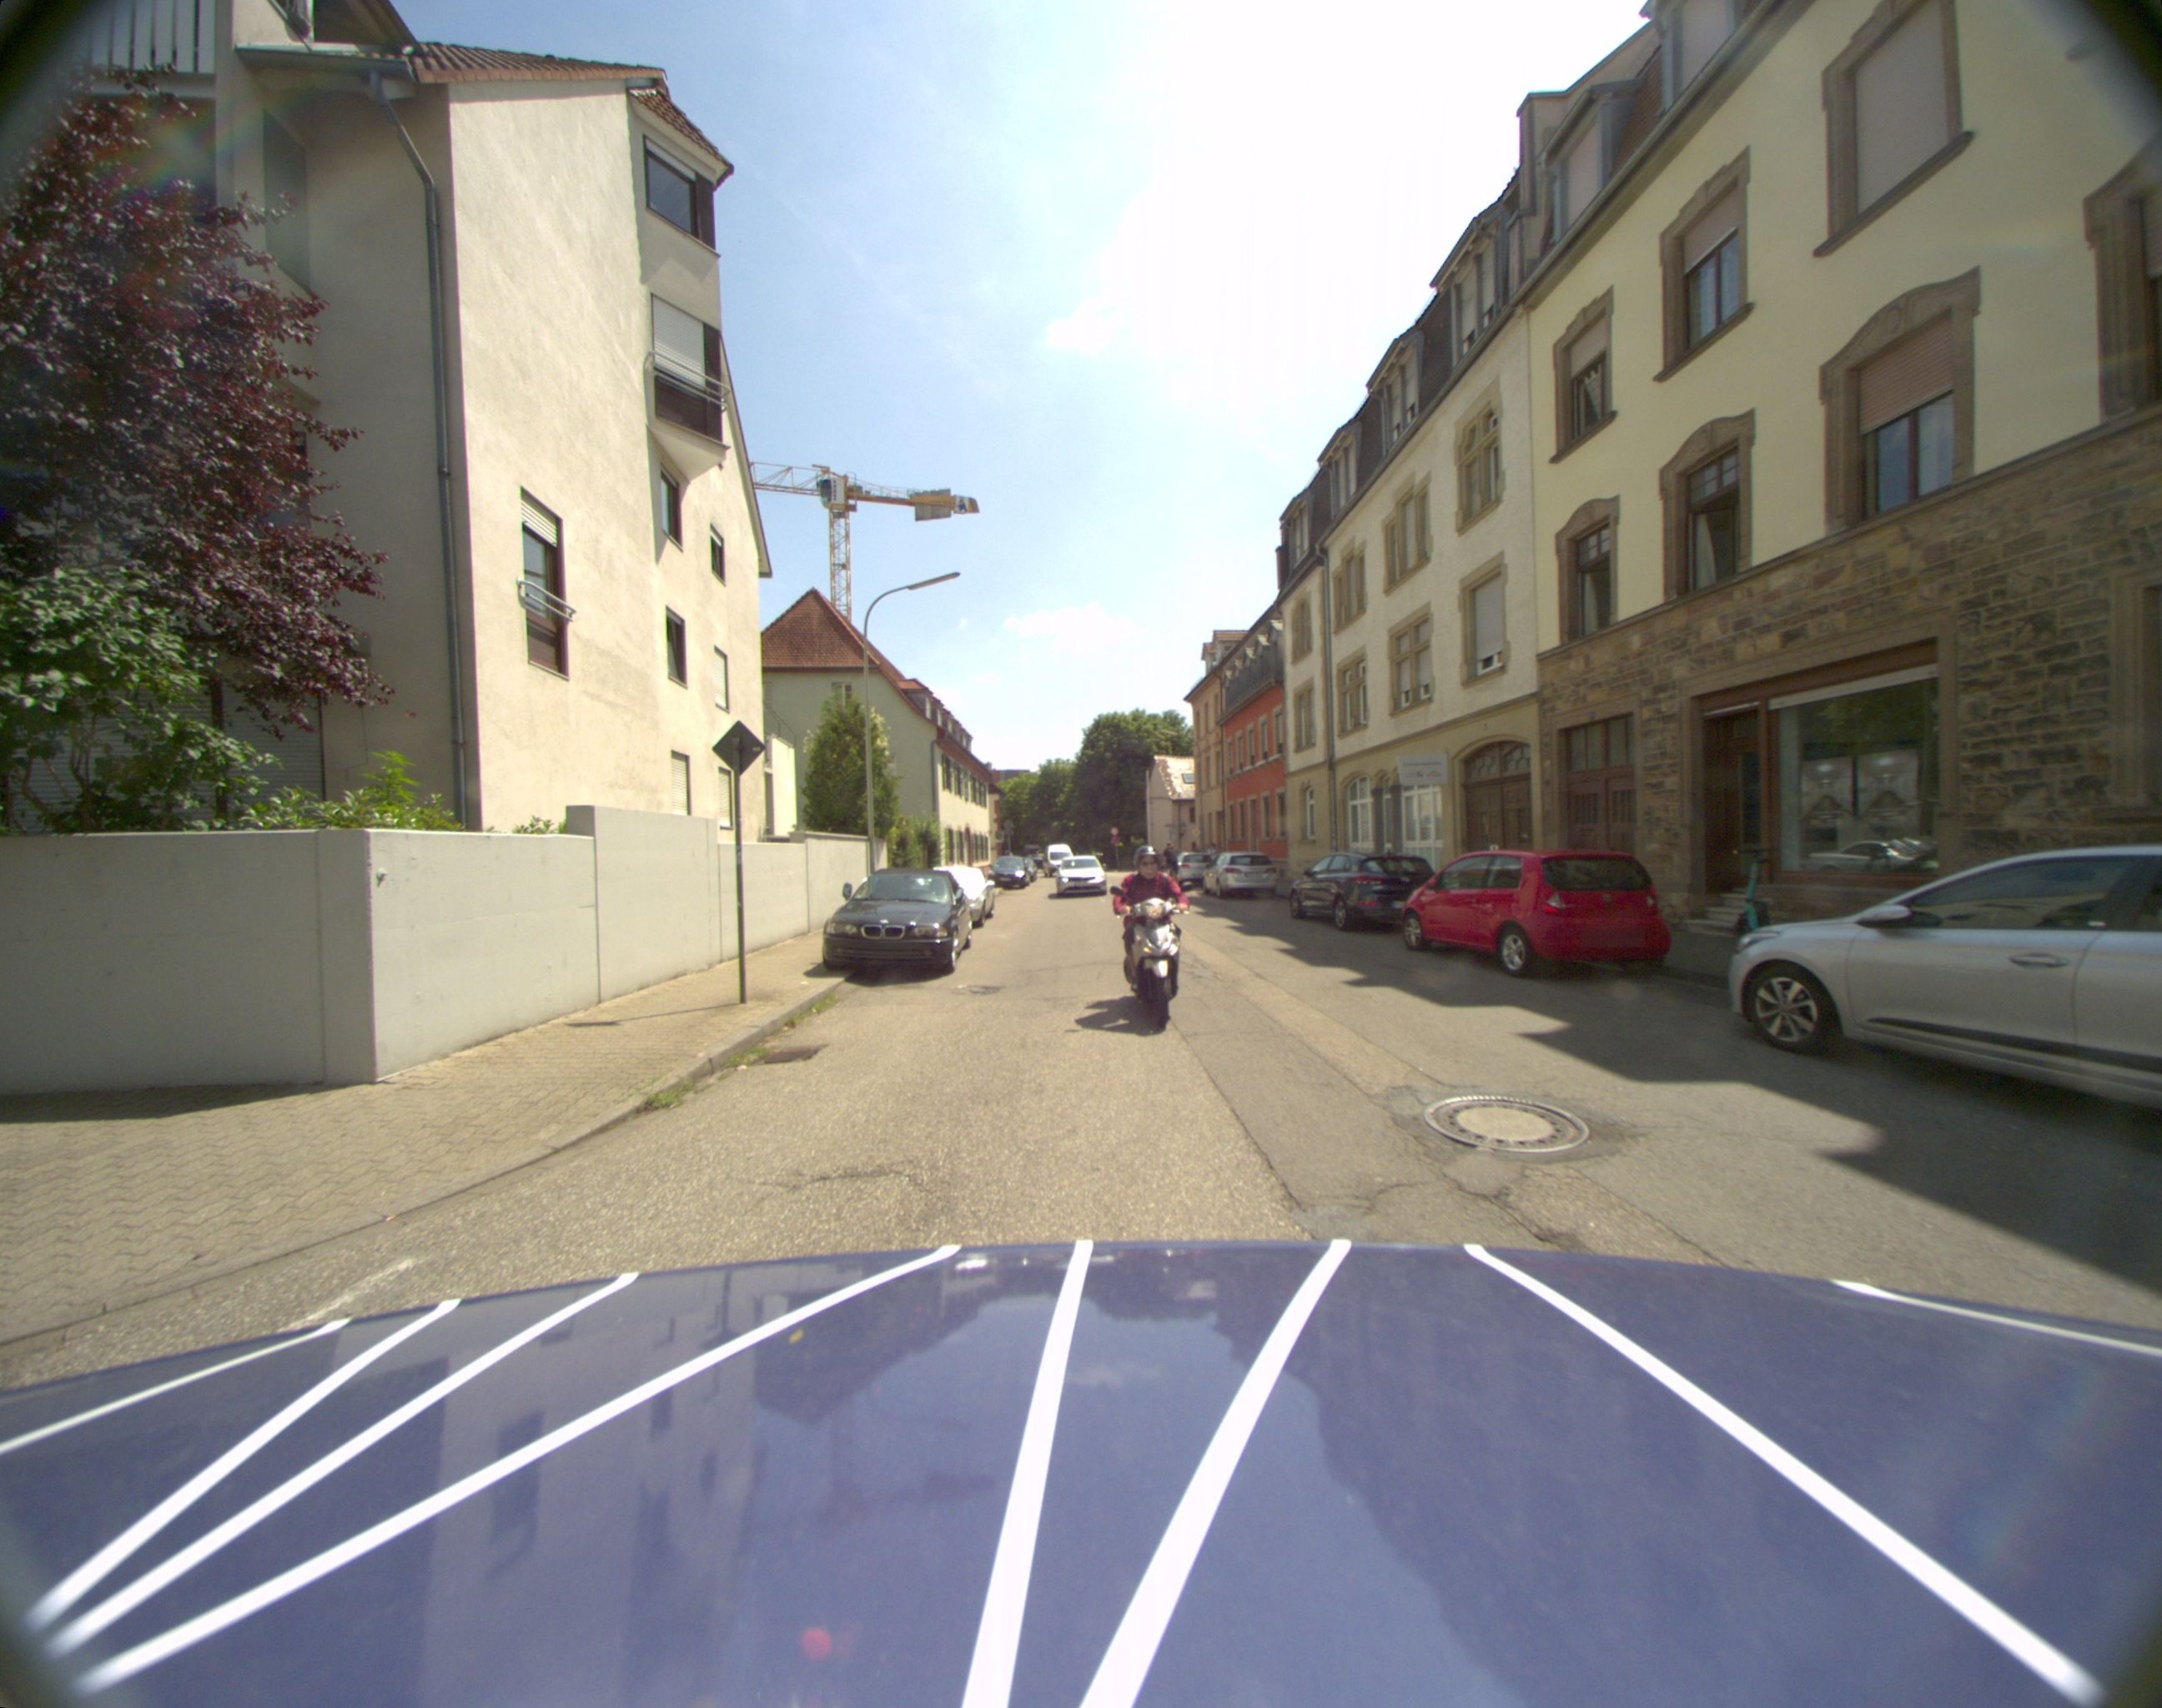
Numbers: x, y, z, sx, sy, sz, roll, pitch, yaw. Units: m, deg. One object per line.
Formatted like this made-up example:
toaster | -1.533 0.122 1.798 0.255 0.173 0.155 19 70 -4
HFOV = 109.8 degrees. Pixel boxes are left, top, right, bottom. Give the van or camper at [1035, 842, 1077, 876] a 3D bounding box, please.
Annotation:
van or camper | -1.866 0.323 54.036 2.001 2.274 5.138 -2 0 -13

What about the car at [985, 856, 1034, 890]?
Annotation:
car | -3.373 0.873 36.476 1.851 1.506 4.000 -1 0 1

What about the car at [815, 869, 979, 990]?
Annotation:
car | -2.560 0.980 11.554 1.661 1.368 4.237 -1 0 -3

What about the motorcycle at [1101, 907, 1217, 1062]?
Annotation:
motorcycle | 0.645 1.101 6.999 0.760 1.049 1.991 -3 0 -2

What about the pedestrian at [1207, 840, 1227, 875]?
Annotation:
pedestrian | 7.127 0.182 39.754 0.770 1.761 0.763 -3 1 -3

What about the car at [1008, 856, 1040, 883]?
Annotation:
car | -3.408 0.920 46.380 1.651 1.489 3.999 -1 0 -1

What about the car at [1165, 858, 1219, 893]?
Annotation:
car | 4.858 0.893 33.672 1.715 1.451 3.852 0 0 -2

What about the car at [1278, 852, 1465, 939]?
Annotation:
car | 5.498 0.710 15.026 1.877 1.430 4.217 -1 0 -3

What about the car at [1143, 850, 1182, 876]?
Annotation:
car | 4.888 0.529 45.917 1.732 1.433 3.856 -1 0 -2

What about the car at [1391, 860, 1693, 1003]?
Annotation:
car | 5.562 0.823 9.721 1.603 1.433 3.494 -1 0 -3

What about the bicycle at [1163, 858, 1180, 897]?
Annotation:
bicycle | 3.108 0.774 26.165 0.229 1.268 1.882 1 1 -3

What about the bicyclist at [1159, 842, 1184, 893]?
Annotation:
bicyclist | 3.124 0.452 26.239 0.643 1.752 1.167 0 1 -3

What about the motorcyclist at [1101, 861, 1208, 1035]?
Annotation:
motorcyclist | 0.642 0.804 6.982 0.793 1.431 1.020 -3 1 -2

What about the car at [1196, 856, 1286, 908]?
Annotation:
car | 5.128 0.849 24.923 1.883 1.501 4.380 -1 0 -2

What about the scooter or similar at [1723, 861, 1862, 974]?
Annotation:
scooter or similar | 8.378 0.703 9.006 0.375 1.213 1.319 -1 0 -2

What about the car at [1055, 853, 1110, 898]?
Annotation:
car | -0.002 0.747 28.373 1.812 1.512 3.999 -2 0 -2

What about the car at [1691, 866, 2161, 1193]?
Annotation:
car | 5.679 0.812 4.001 1.639 1.423 4.017 0 0 -1

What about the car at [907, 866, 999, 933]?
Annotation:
car | -2.912 1.002 18.013 1.589 1.345 3.821 0 0 -1
